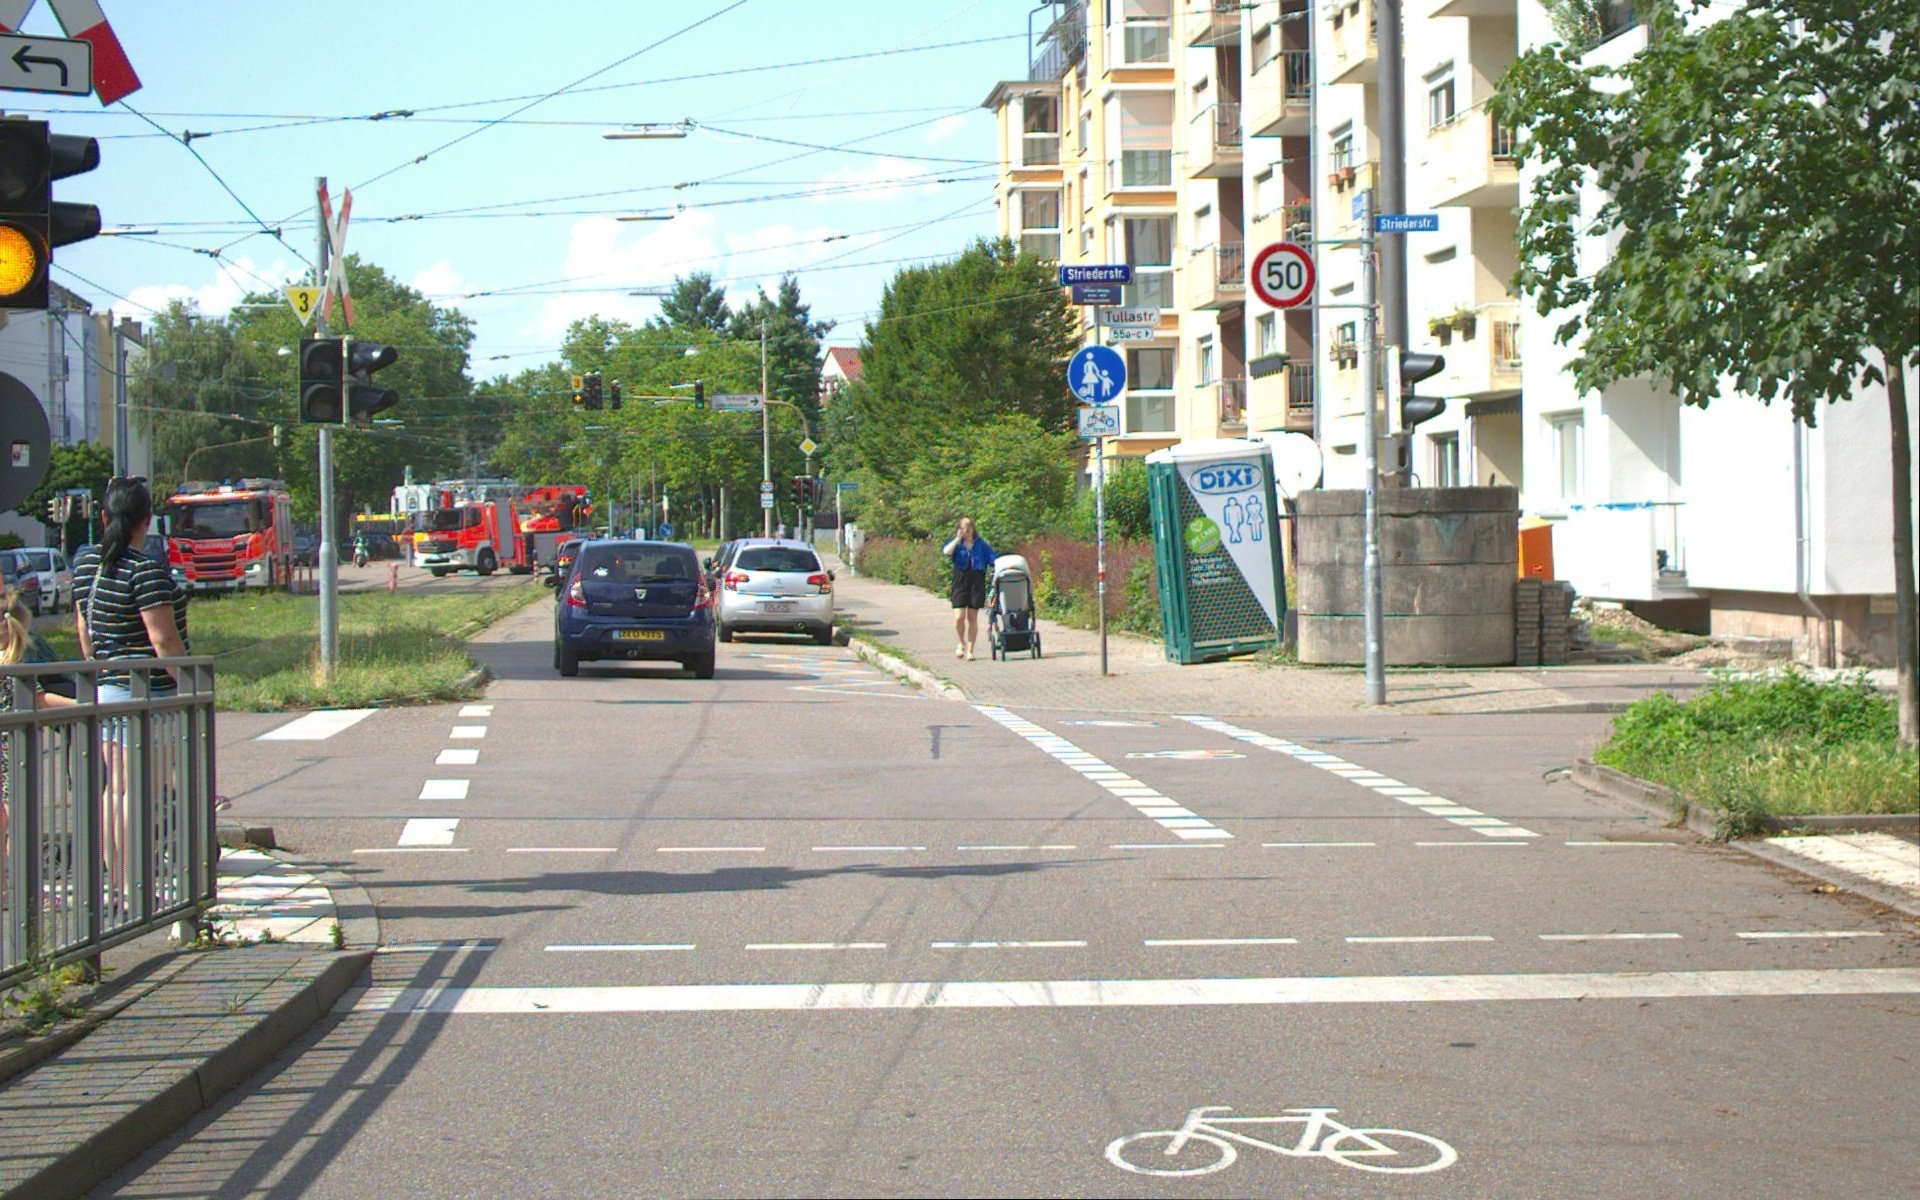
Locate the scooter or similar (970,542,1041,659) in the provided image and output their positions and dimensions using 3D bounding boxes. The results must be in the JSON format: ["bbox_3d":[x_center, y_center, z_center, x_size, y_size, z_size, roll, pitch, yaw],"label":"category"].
[{"bbox_3d":[0.523,-0.002,39.889,0.662,1.299,0.869,-4,2,-4],"label":"scooter or similar"}]

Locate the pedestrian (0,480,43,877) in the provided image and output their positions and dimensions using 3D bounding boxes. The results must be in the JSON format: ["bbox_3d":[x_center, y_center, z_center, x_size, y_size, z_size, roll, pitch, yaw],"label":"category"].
[{"bbox_3d":[-4.315,0.315,14.524,0.705,1.642,0.637,1,0,-3],"label":"pedestrian"}]

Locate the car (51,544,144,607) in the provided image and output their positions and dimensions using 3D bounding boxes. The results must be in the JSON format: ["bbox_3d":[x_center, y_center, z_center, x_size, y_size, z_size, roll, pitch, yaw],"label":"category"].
[{"bbox_3d":[-22.214,-0.646,88.650,1.776,1.551,4.001,1,1,-6],"label":"car"}]

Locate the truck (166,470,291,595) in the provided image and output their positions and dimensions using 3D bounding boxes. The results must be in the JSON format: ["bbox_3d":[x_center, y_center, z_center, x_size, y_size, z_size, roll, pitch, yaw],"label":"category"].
[{"bbox_3d":[-19.648,-1.800,92.693,2.595,3.175,8.384,-1,1,-7],"label":"truck"}]

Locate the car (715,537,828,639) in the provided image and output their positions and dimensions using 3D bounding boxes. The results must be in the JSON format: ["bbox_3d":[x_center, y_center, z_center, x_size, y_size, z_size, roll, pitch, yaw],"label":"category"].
[{"bbox_3d":[-2.844,-0.198,51.707,1.622,1.460,3.511,1,1,-3],"label":"car"}]

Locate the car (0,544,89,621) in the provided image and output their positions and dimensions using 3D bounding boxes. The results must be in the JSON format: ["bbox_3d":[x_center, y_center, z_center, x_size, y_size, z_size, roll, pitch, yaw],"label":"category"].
[{"bbox_3d":[-21.270,-0.420,78.599,1.993,1.705,4.001,1,1,-5],"label":"car"}]

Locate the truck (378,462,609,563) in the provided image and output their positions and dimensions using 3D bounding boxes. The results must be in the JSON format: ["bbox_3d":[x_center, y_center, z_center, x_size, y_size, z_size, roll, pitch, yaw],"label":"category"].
[{"bbox_3d":[-16.816,-3.122,124.883,2.671,3.458,10.151,1,1,30],"label":"truck"}]

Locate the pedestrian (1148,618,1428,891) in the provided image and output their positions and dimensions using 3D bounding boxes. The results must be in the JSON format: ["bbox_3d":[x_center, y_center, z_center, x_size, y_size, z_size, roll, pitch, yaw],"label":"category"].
[{"bbox_3d":[2.640,1.205,28.502,1.993,2.007,4.000,1,1,1],"label":"pedestrian"}]

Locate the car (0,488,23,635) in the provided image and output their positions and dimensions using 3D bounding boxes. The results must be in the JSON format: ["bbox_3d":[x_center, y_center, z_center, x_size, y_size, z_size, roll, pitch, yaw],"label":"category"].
[{"bbox_3d":[-15.862,-0.570,52.454,1.993,2.267,4.834,-1,1,-3],"label":"car"}]

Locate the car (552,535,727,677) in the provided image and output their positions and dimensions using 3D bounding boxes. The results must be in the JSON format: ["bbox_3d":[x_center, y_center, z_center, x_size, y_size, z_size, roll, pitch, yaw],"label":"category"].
[{"bbox_3d":[-3.557,0.037,38.723,1.743,1.502,4.000,1,1,-2],"label":"car"}]

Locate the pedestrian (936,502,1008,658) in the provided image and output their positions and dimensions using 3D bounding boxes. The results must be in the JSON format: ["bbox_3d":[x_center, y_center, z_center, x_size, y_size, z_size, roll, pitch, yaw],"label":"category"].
[{"bbox_3d":[0.139,-0.247,40.835,0.701,1.783,1.030,-4,1,-2],"label":"pedestrian"}]

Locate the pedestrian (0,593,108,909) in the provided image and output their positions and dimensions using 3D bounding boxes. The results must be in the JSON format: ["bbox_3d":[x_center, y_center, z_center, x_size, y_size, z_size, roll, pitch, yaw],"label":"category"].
[{"bbox_3d":[-3.731,0.570,13.292,0.636,1.176,0.799,-2,1,-29],"label":"pedestrian"}]

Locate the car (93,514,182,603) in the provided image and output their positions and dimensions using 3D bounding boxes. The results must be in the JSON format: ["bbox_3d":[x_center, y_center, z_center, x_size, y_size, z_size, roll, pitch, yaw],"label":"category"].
[{"bbox_3d":[-22.838,-1.160,95.574,1.776,2.391,4.696,1,1,-6],"label":"car"}]

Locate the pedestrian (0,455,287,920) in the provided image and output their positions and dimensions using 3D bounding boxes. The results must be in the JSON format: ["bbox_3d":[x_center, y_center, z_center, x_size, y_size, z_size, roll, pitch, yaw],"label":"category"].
[{"bbox_3d":[-3.063,0.304,12.848,0.845,1.662,0.799,-2,1,-27],"label":"pedestrian"}]

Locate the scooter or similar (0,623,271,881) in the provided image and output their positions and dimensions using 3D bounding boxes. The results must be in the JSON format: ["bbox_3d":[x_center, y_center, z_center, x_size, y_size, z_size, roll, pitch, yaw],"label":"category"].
[{"bbox_3d":[-3.526,0.635,14.593,1.100,1.052,0.651,1,1,-4],"label":"scooter or similar"}]
